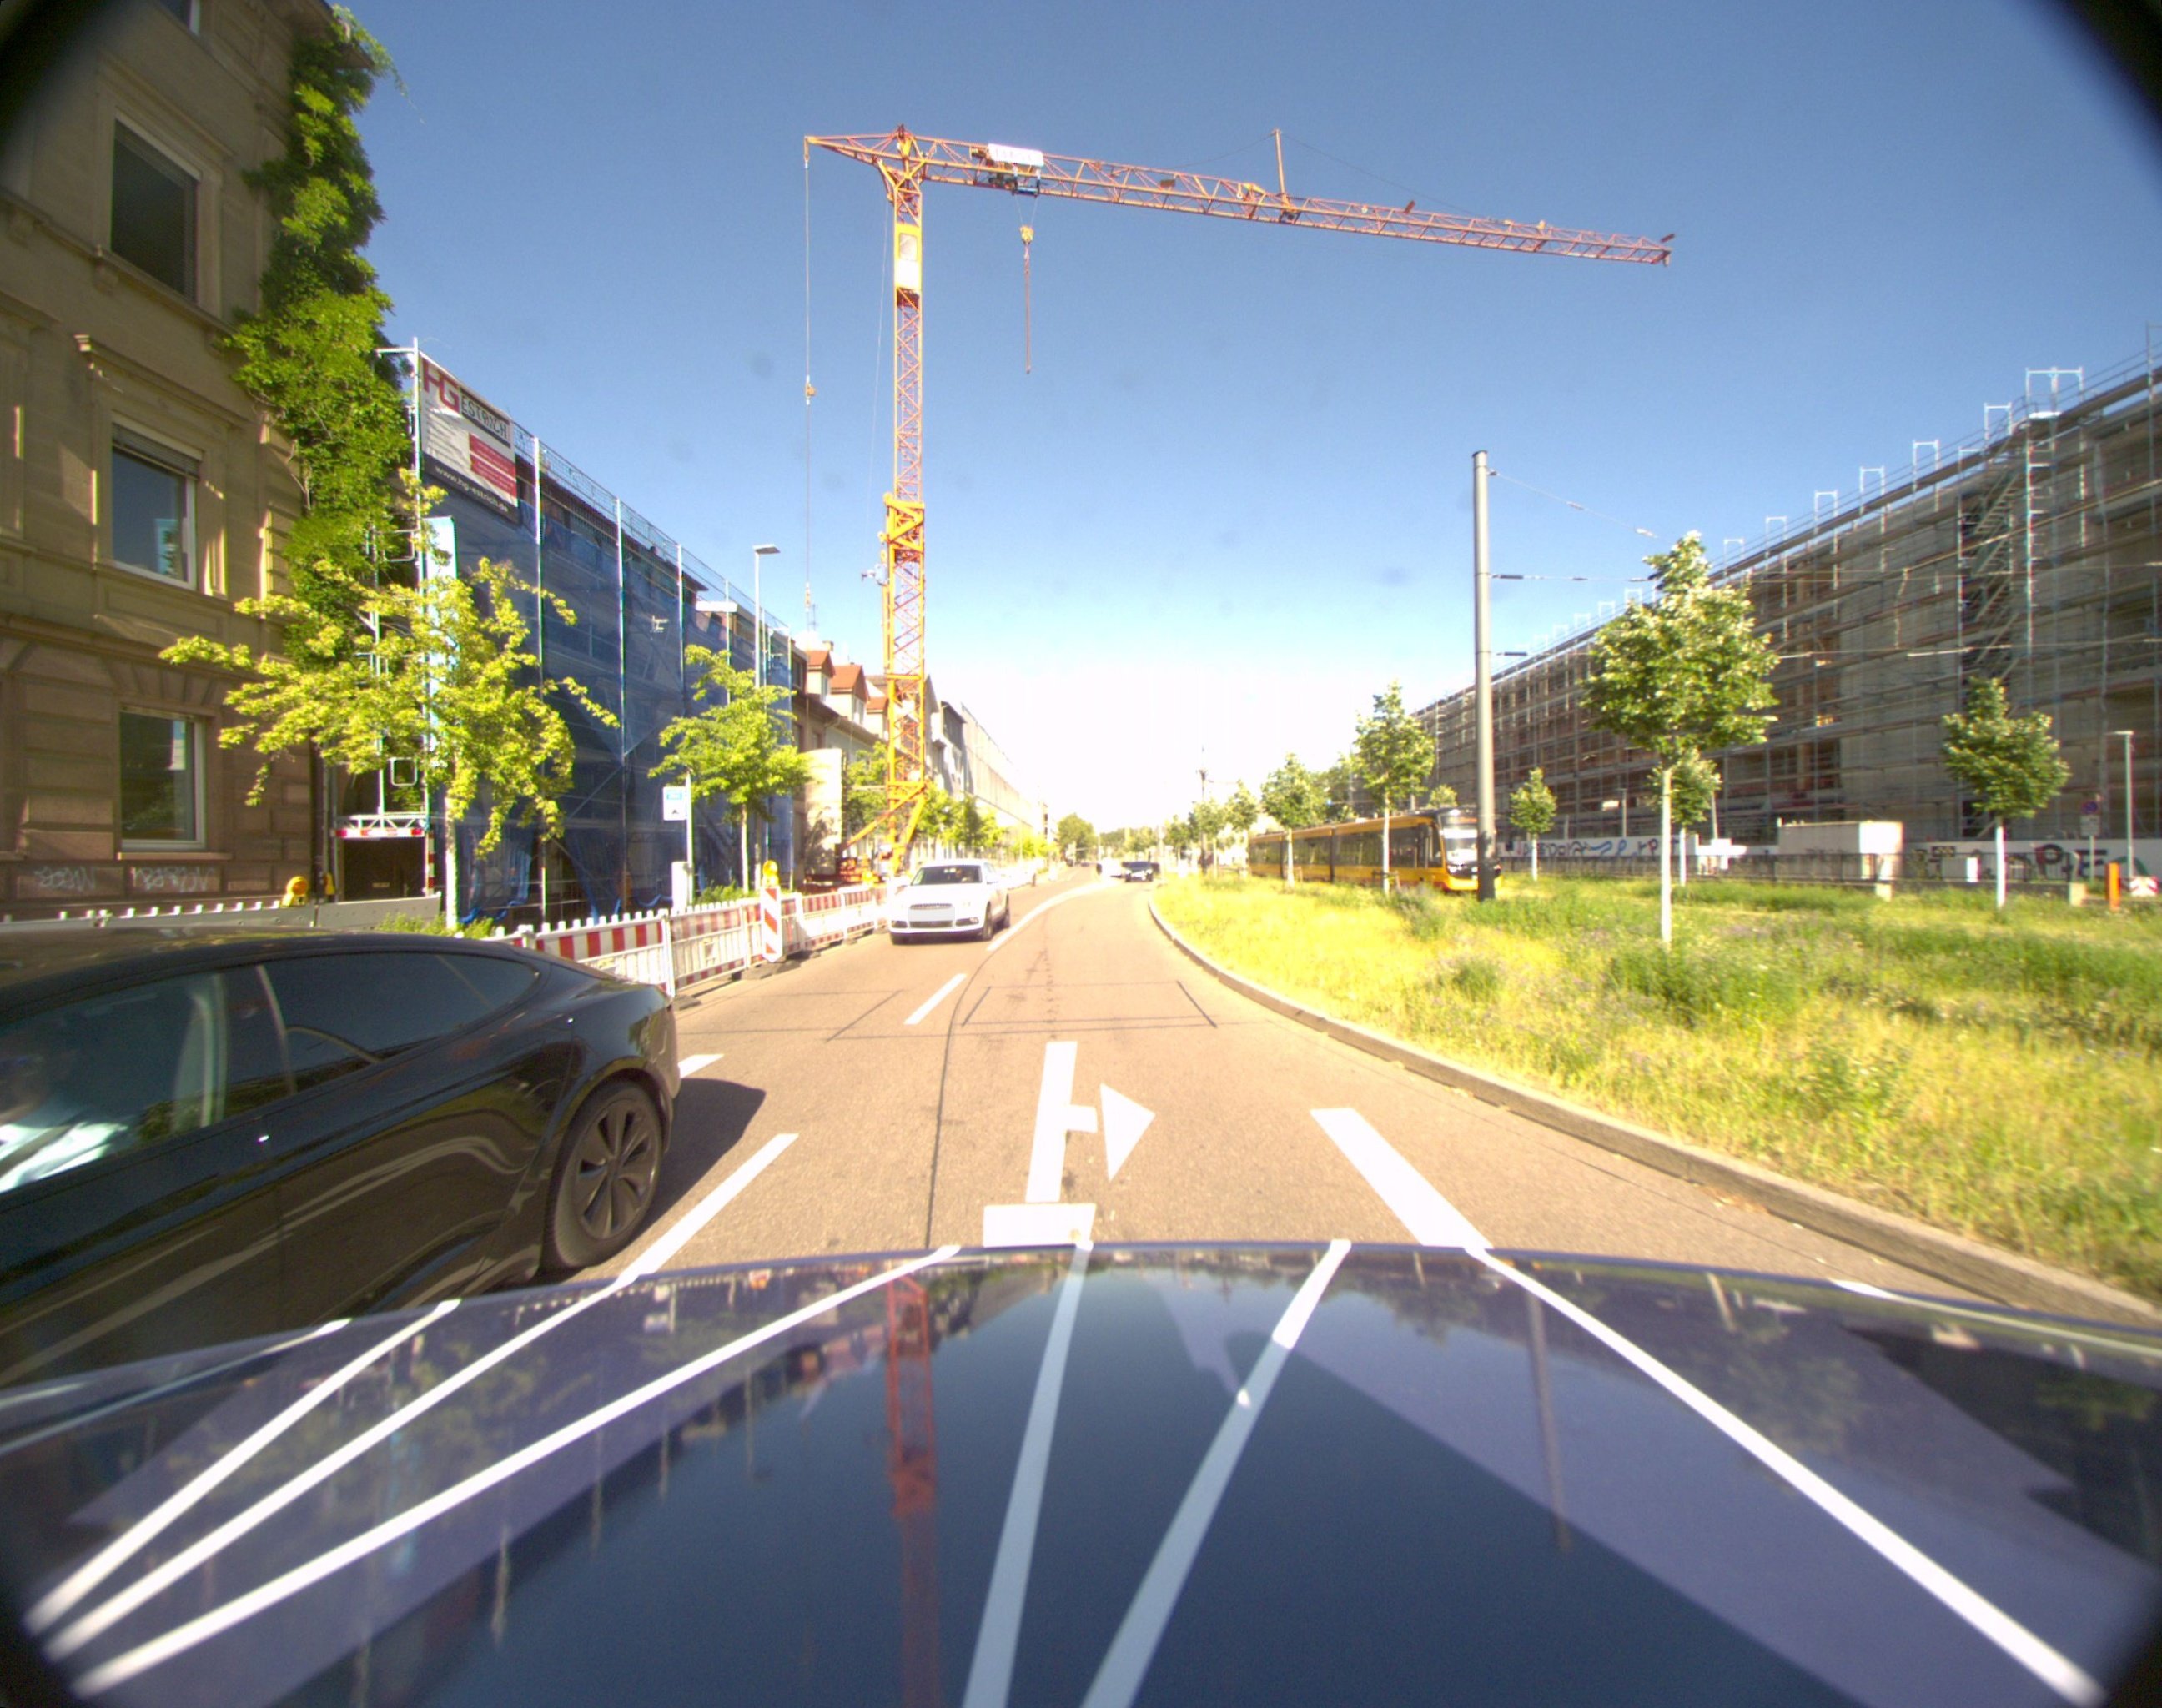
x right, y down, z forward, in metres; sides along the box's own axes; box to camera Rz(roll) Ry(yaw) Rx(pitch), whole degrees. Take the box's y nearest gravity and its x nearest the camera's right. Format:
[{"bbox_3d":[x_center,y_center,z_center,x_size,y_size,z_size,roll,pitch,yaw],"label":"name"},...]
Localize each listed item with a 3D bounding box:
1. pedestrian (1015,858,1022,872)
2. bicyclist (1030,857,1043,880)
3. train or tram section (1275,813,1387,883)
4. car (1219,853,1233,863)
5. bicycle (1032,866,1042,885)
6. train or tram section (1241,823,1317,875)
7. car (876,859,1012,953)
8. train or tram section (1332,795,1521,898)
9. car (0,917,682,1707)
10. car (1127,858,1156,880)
[{"bbox_3d":[-8.851,1.587,108.227,0.877,1.913,0.895,2,2,1],"label":"pedestrian"},{"bbox_3d":[-2.917,0.966,49.655,0.755,1.454,0.587,-2,1,-4],"label":"bicyclist"},{"bbox_3d":[14.721,-0.332,46.140,2.822,3.617,12.789,0,0,1],"label":"train or tram section"},{"bbox_3d":[31.780,0.842,166.940,2.337,2.146,4.397,-1,0,1],"label":"car"},{"bbox_3d":[-2.903,1.392,49.666,0.610,1.144,1.986,-1,0,-4],"label":"bicycle"},{"bbox_3d":[15.068,-0.359,58.918,2.822,3.617,12.789,0,0,1],"label":"train or tram section"},{"bbox_3d":[-2.683,0.970,15.842,1.934,1.624,4.000,-2,0,2],"label":"car"},{"bbox_3d":[14.364,-0.285,33.361,2.822,3.617,12.790,0,0,2],"label":"train or tram section"},{"bbox_3d":[-2.949,1.045,1.287,2.056,1.435,4.524,-2,0,1],"label":"car"},{"bbox_3d":[4.219,1.003,53.277,1.927,1.435,4.178,-1,0,3],"label":"car"}]
